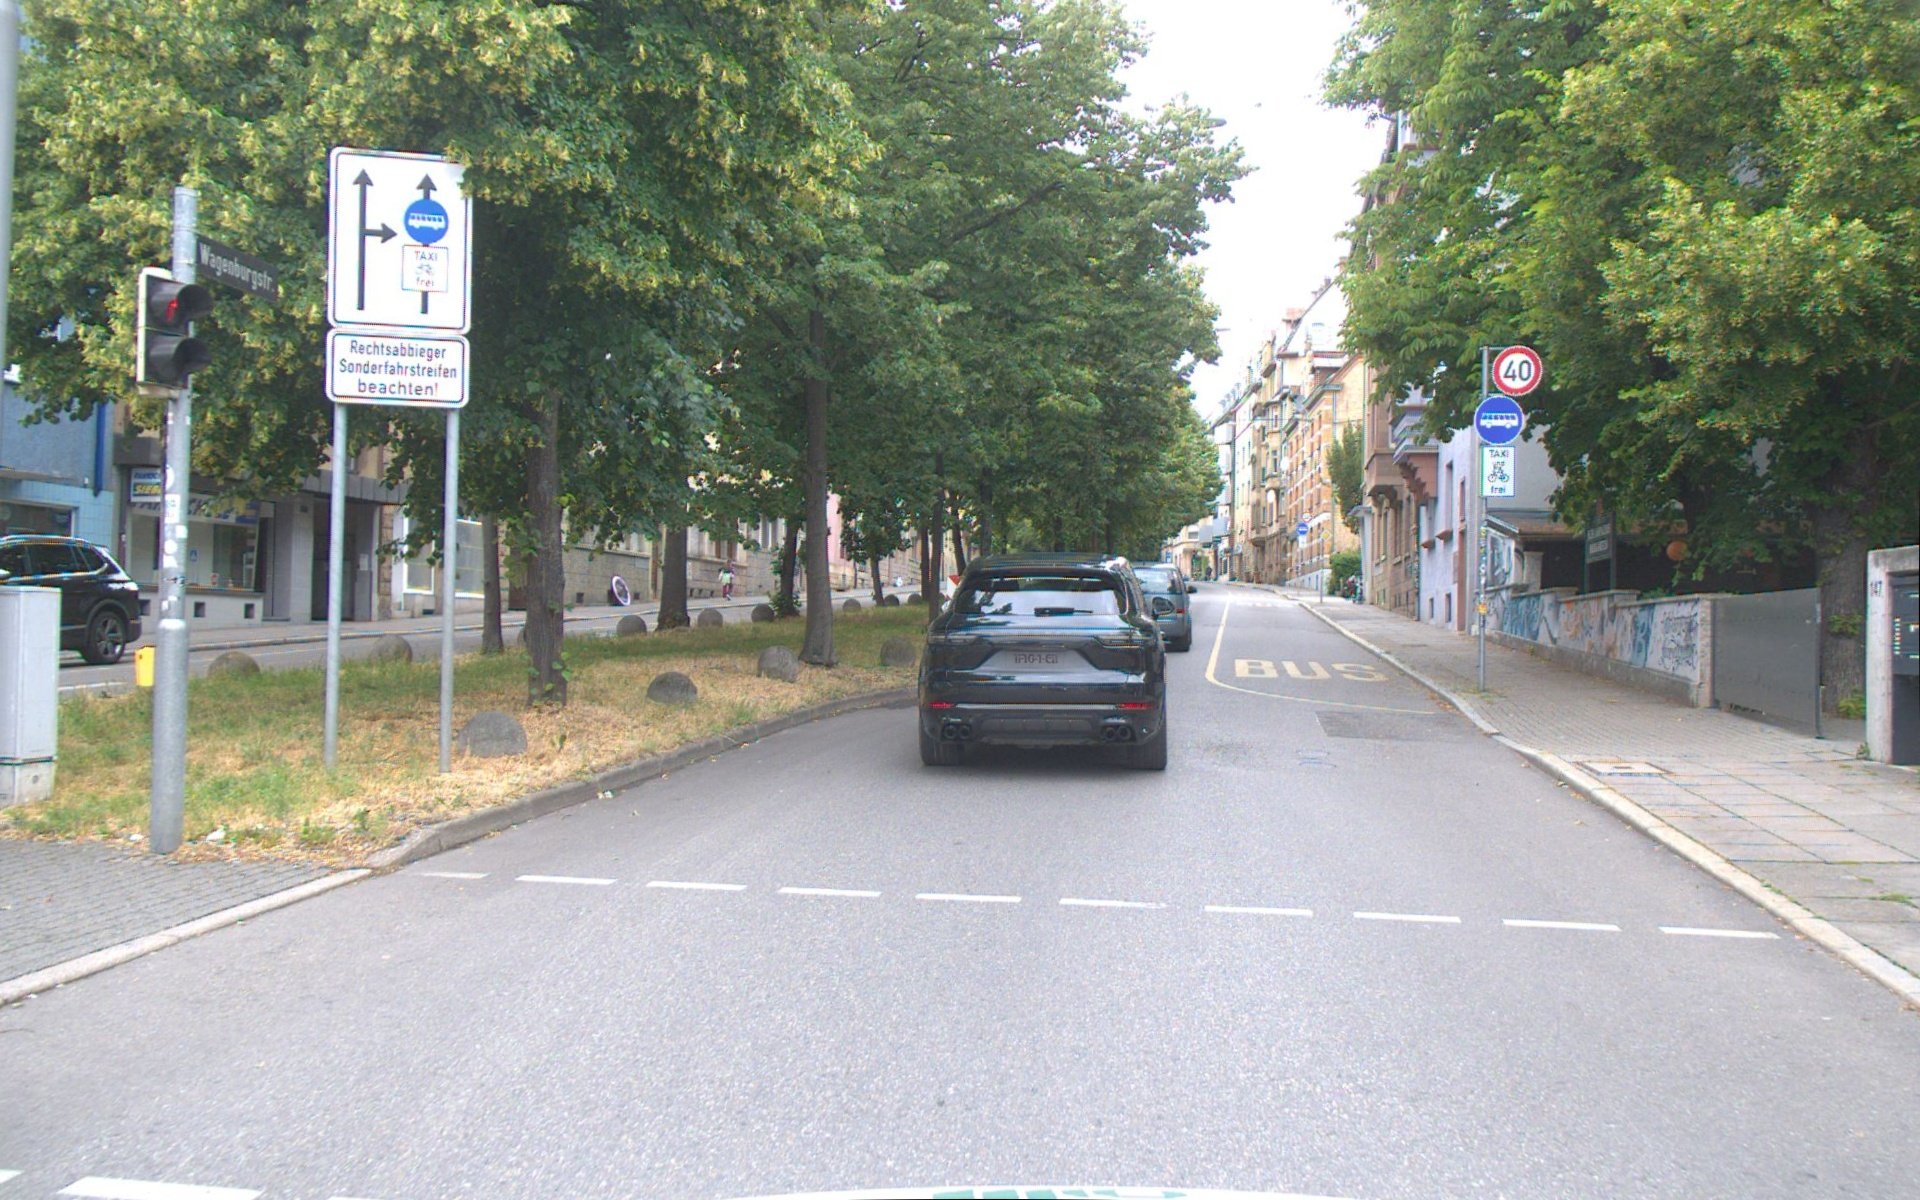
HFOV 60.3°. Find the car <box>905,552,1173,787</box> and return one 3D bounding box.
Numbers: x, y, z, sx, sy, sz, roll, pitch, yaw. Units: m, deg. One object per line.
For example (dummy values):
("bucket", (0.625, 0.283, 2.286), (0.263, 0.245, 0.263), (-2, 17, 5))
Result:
("car", (0.819, 0.450, 14.048), (1.951, 1.694, 4.004), (0, 1, 7))

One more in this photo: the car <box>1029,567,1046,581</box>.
("car", (8.356, -2.818, 178.787), (1.673, 1.406, 4.670), (-1, 2, 2))

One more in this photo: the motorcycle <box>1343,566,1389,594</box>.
("motorcycle", (20.046, -1.010, 81.735), (2.012, 1.290, 1.011), (2, 1, 5))

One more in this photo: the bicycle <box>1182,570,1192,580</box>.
("bicycle", (26.513, -2.915, 192.955), (0.861, 1.149, 2.980), (1, -1, 2))

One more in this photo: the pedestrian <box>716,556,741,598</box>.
("pedestrian", (-8.471, -0.847, 60.564), (0.684, 1.485, 0.705), (1, 2, 10))

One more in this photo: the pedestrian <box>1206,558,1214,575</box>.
("pedestrian", (26.148, -3.483, 173.104), (0.735, 1.722, 0.859), (0, -1, 4))

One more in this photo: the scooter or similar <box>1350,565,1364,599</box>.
("scooter or similar", (15.330, -0.696, 63.910), (0.401, 1.230, 1.147), (-2, 4, 9))

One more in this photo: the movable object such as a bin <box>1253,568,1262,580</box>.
("movable object such as a bin", (23.872, -2.103, 132.712), (0.582, 0.920, 0.563), (1, 0, 4))

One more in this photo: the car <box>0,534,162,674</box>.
("car", (-12.158, 0.065, 20.478), (1.777, 1.665, 4.683), (-1, 0, 8))

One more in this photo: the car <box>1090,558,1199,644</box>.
("car", (3.542, 0.020, 31.247), (1.725, 1.491, 3.595), (1, 0, 11))
